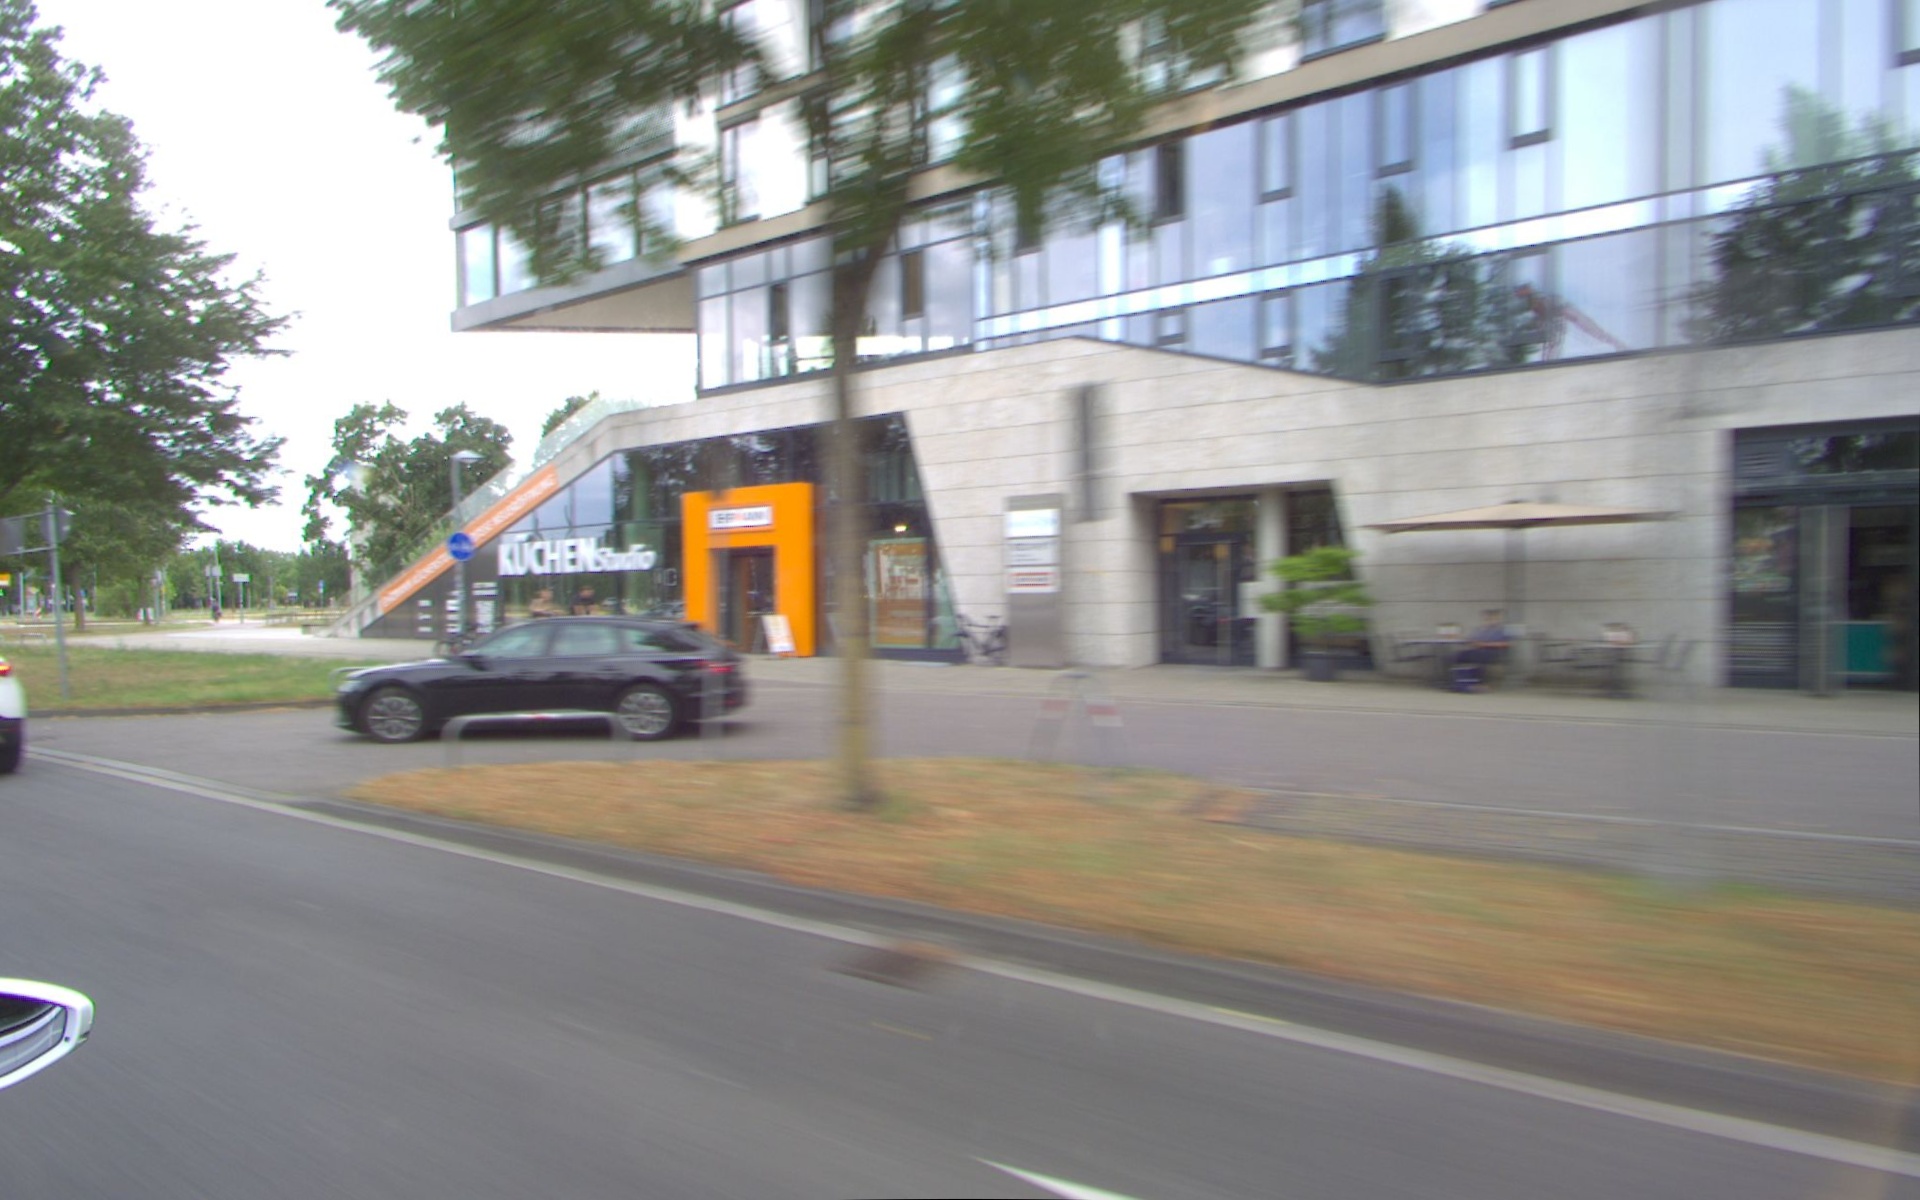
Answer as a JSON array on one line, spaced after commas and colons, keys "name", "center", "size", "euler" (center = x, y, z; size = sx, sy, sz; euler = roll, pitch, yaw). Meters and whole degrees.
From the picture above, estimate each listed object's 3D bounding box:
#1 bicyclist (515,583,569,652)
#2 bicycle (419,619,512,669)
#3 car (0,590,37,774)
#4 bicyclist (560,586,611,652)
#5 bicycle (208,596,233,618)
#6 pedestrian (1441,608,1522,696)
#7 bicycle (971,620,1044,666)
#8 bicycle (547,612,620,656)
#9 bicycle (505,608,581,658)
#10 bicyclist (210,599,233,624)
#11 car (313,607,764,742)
[{"name": "bicyclist", "center": [-10.030, 0.413, 24.055], "size": [0.975, 1.604, 0.723], "euler": [0, 2, 32]}, {"name": "bicycle", "center": [-10.323, 0.899, 20.883], "size": [2.075, 0.968, 0.629], "euler": [0, 1, 28]}, {"name": "car", "center": [-10.762, 0.738, 9.667], "size": [3.966, 1.678, 1.776], "euler": [0, -1, 33]}, {"name": "bicyclist", "center": [-9.372, 0.458, 25.061], "size": [0.975, 1.604, 0.723], "euler": [0, 2, 32]}, {"name": "bicycle", "center": [-53.645, 0.502, 72.654], "size": [1.978, 1.525, 0.704], "euler": [-1, -2, 31]}, {"name": "pedestrian", "center": [7.713, 0.740, 14.803], "size": [0.938, 1.245, 0.894], "euler": [0, 1, 37]}, {"name": "bicycle", "center": [0.985, 0.896, 21.017], "size": [1.472, 0.922, 0.517], "euler": [0, 1, 33]}, {"name": "bicycle", "center": [-9.477, 0.836, 25.191], "size": [1.978, 1.056, 0.672], "euler": [0, 1, 33]}, {"name": "bicycle", "center": [-10.035, 0.783, 24.085], "size": [1.978, 1.158, 0.672], "euler": [0, 1, 33]}, {"name": "bicyclist", "center": [-53.528, 0.842, 72.570], "size": [1.157, 1.814, 0.864], "euler": [-1, 2, 31]}, {"name": "car", "center": [-5.009, 0.861, 12.485], "size": [4.776, 1.495, 1.947], "euler": [0, 0, -3]}]
